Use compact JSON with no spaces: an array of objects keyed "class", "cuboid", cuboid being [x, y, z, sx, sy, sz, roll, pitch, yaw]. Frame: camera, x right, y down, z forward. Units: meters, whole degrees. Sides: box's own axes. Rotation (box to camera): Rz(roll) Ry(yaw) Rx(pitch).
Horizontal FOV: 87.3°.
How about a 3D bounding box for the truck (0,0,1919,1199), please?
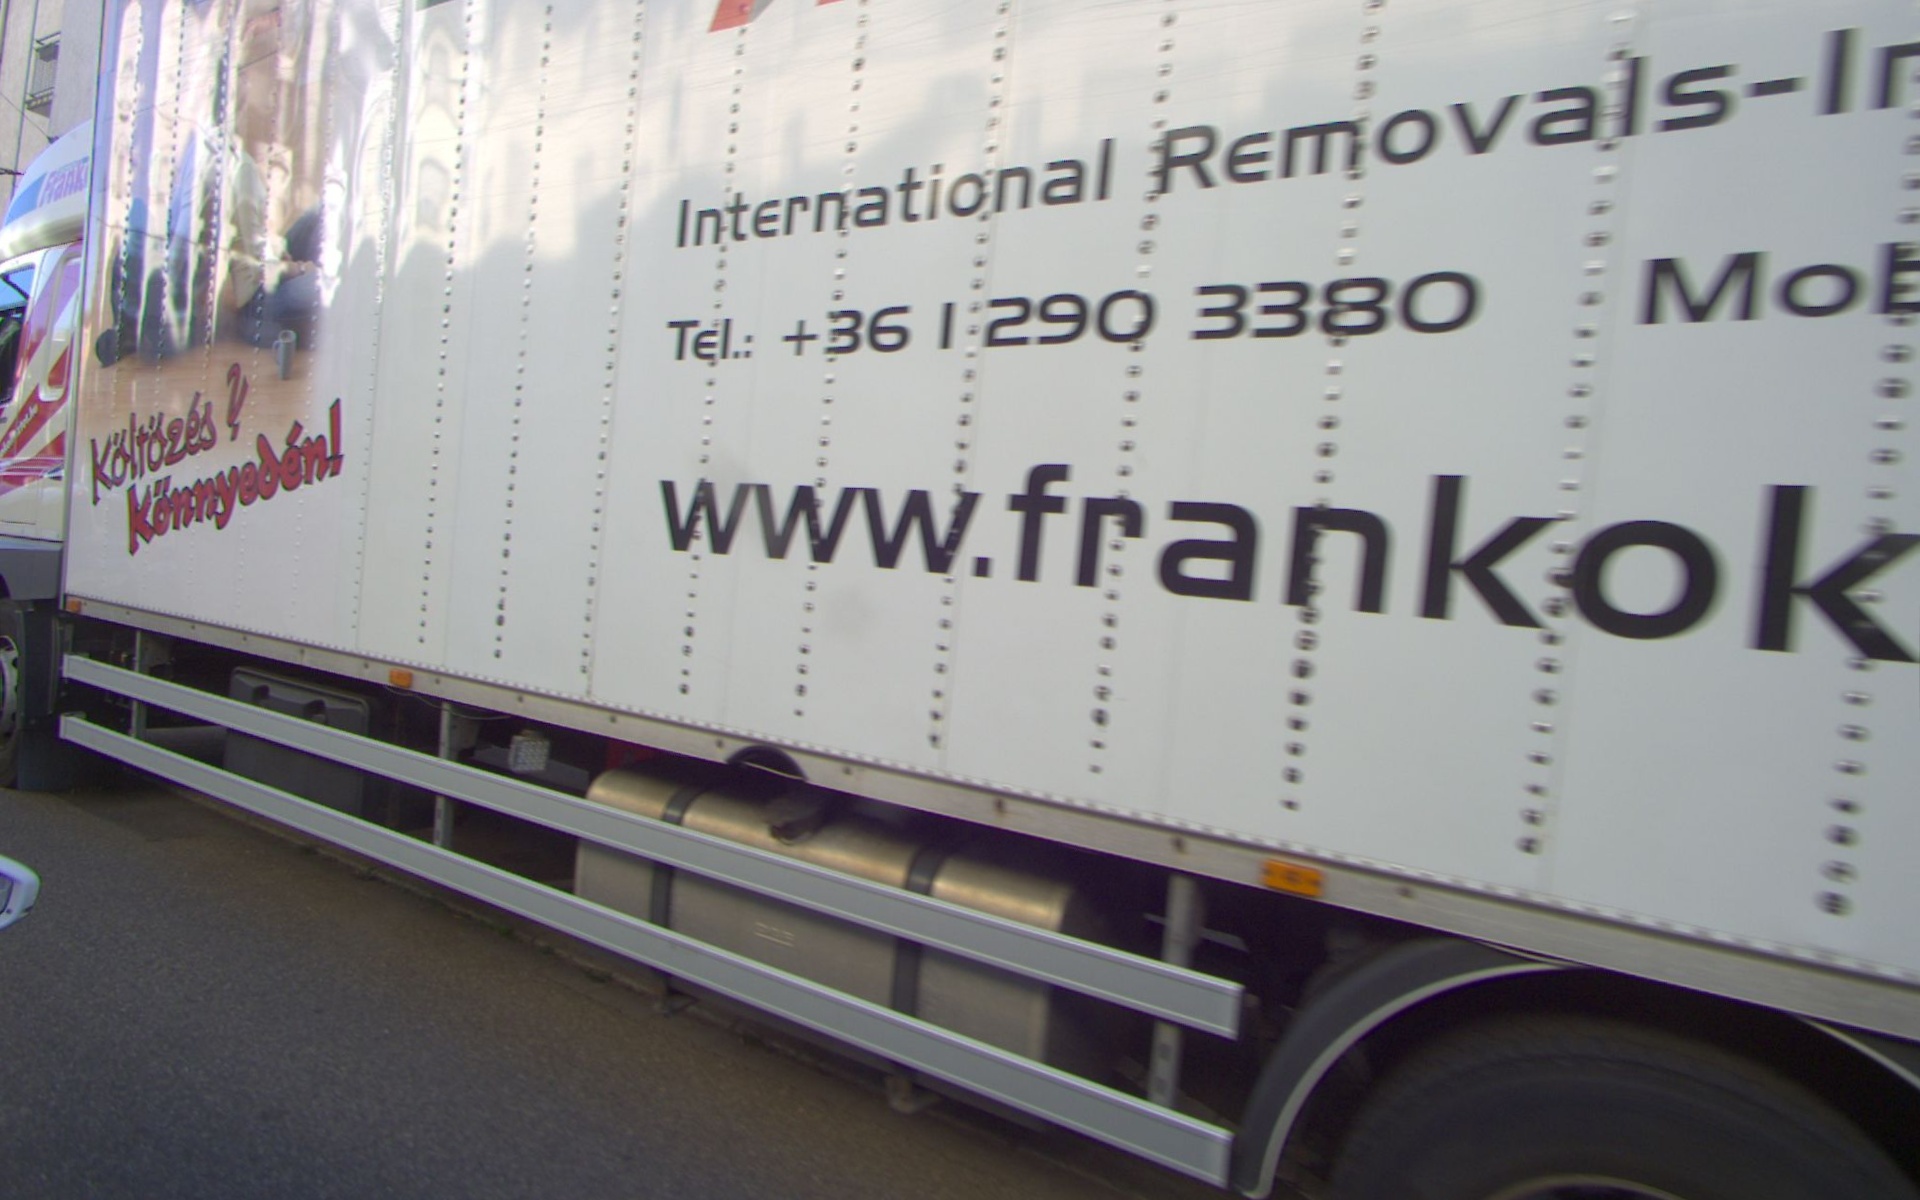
[{"class":"truck","cuboid":[-0.492,-0.599,4.109,11.580,4.124,2.864,7,0,31]}]
